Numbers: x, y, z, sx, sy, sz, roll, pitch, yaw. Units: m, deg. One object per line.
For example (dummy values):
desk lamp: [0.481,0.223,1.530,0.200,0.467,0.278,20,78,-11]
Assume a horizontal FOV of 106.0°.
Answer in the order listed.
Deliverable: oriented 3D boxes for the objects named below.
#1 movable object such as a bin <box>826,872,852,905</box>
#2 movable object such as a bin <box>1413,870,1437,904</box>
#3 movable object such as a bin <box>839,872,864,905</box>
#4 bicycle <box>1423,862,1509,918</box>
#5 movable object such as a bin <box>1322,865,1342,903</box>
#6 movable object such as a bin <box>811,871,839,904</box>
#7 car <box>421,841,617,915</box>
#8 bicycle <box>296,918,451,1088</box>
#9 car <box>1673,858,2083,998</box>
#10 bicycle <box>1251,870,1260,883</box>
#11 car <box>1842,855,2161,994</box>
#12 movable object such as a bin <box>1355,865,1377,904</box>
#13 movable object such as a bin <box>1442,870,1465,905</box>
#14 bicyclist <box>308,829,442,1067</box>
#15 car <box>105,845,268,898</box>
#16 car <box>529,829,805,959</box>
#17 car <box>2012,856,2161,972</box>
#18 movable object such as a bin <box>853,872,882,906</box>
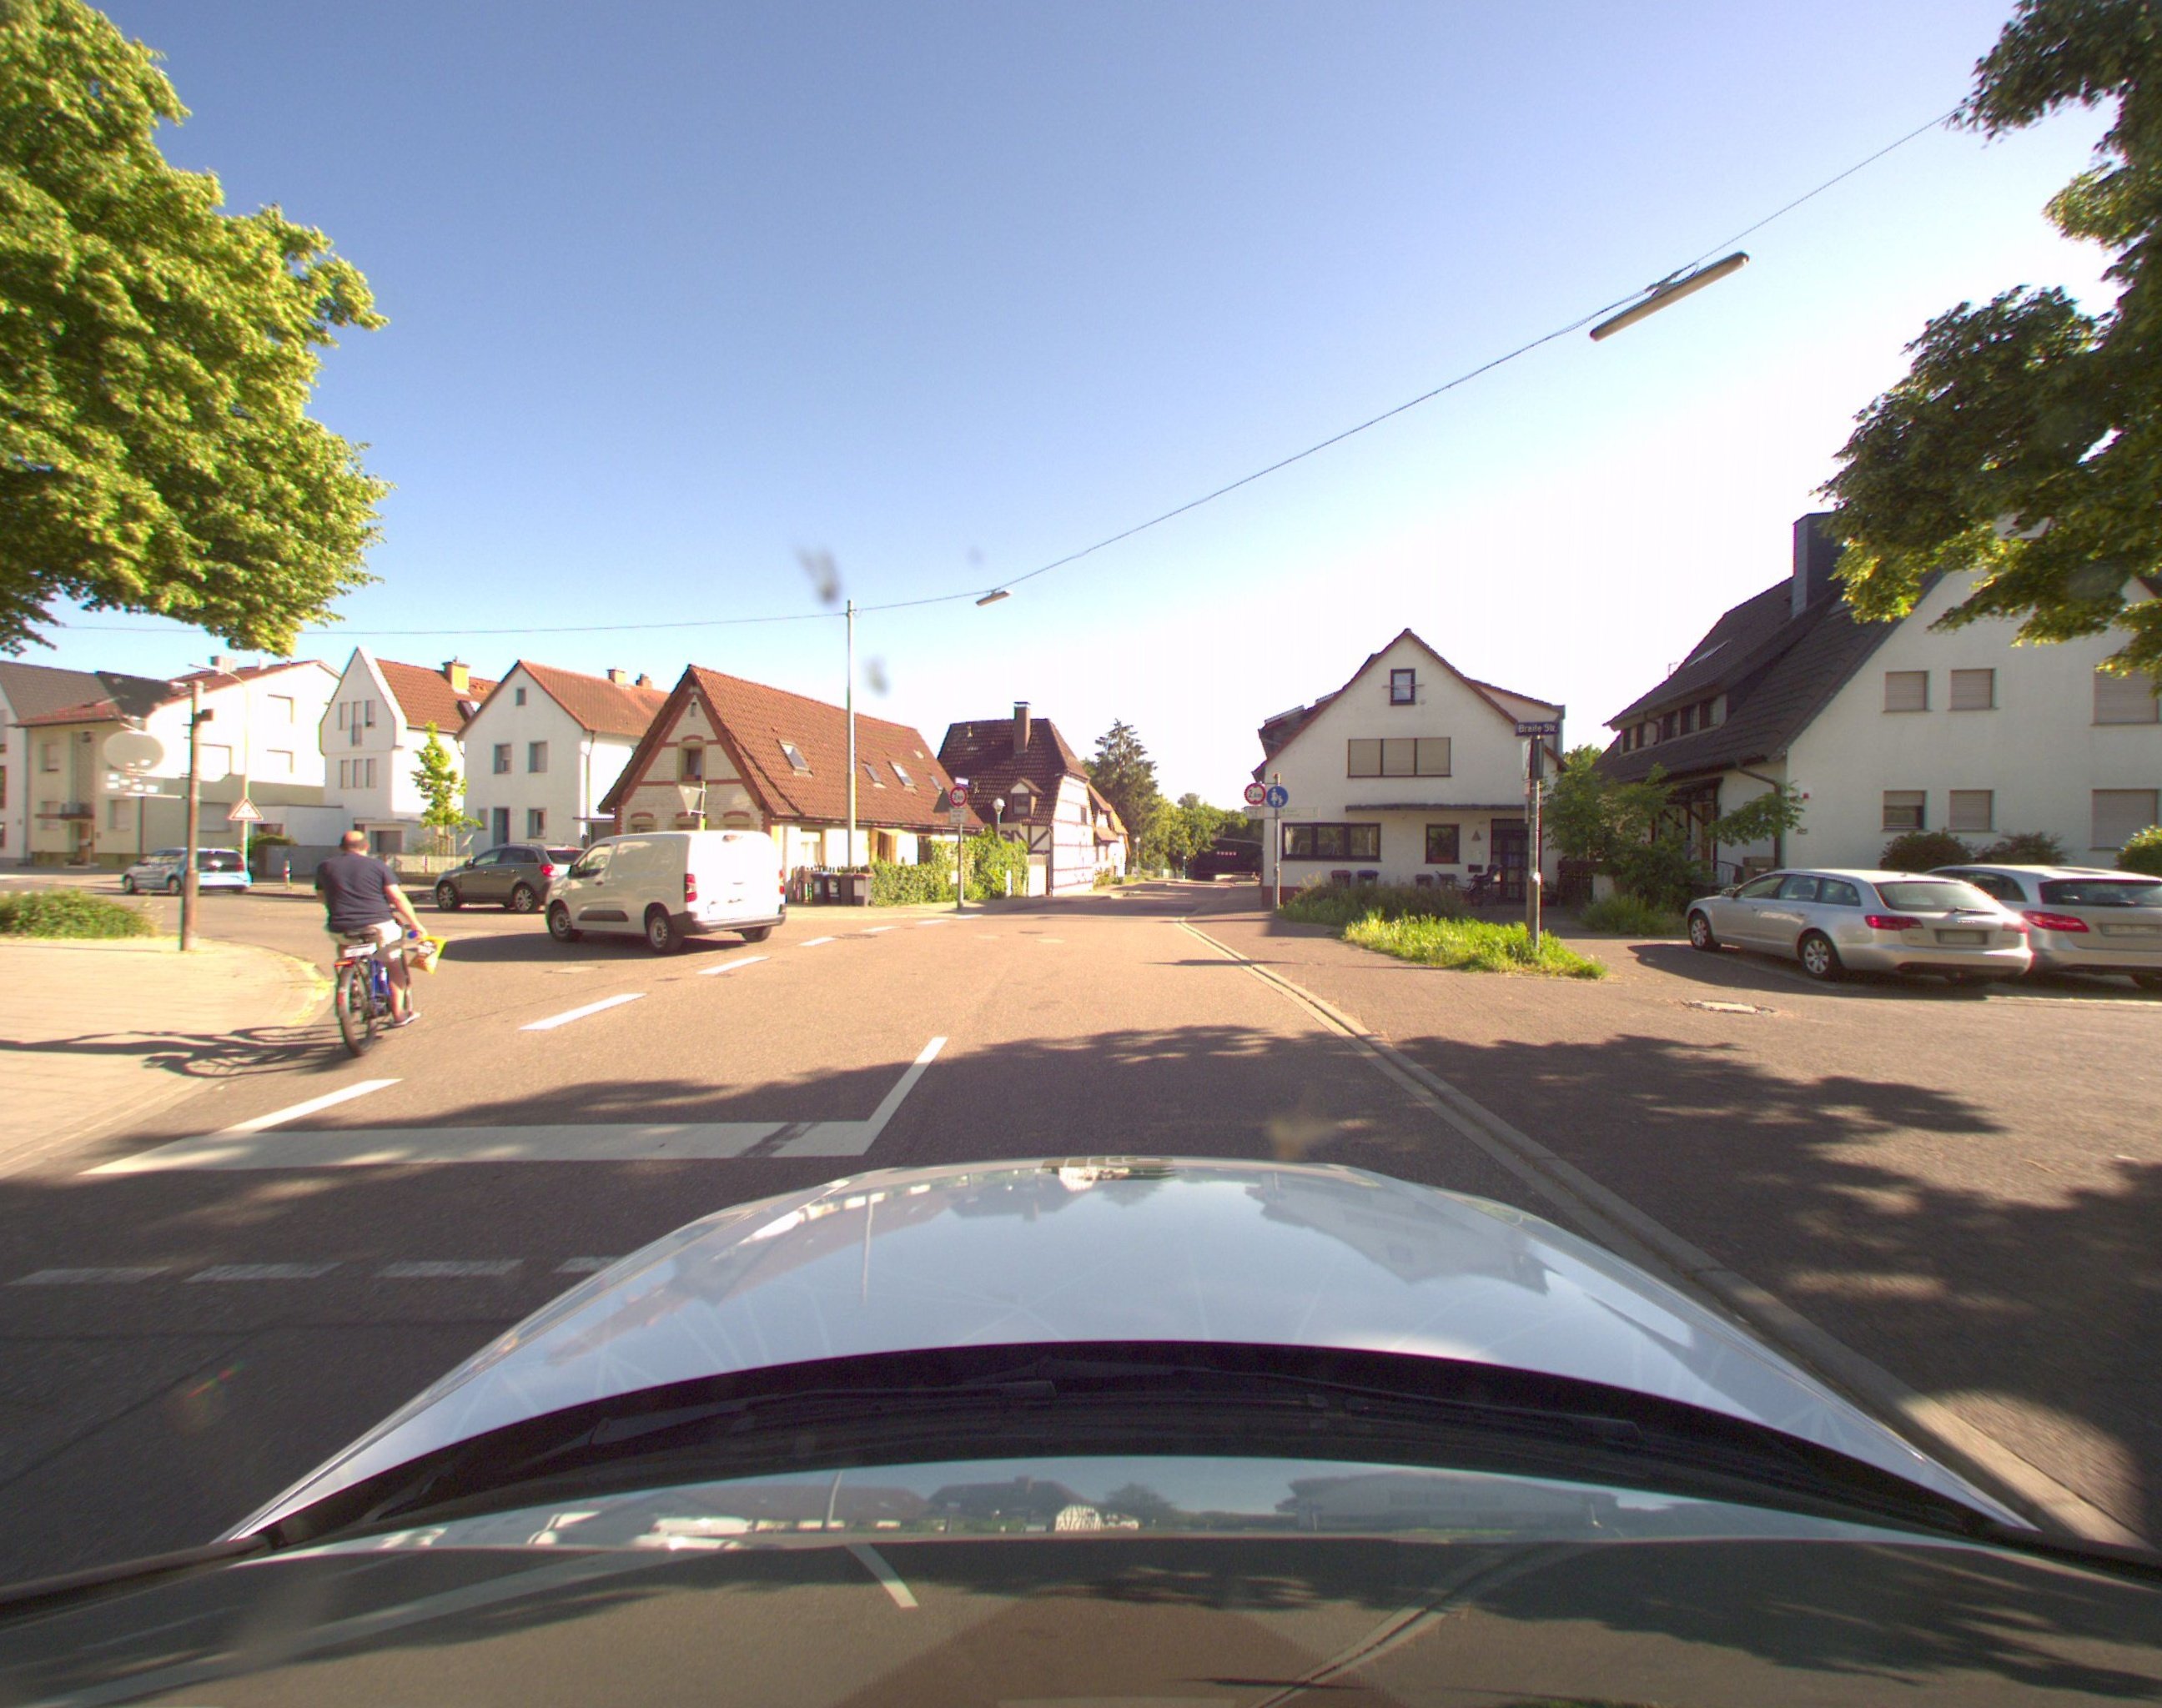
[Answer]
movable object such as a bin: [-7.051,0.990,23.734,0.409,0.906,0.629,0,1,19]
movable object such as a bin: [10.167,0.971,24.075,0.526,0.983,0.671,0,0,11]
movable object such as a bin: [-6.646,0.995,23.583,0.407,0.924,0.628,0,0,19]
bicycle: [9.198,0.839,19.500,1.726,1.284,0.702,1,-1,9]
movable object such as a bin: [7.566,0.899,24.554,0.477,1.123,0.751,0,0,11]
movable object such as a bin: [-7.516,0.975,23.896,0.503,0.924,0.628,0,0,19]
car: [-14.303,0.561,20.780,4.186,1.725,1.955,1,-1,19]
bicycle: [-5.783,1.122,6.774,0.781,0.940,2.265,-5,4,-38]
car: [11.058,0.869,11.959,1.981,1.421,4.818,1,2,11]
bicycle: [16.146,2.067,75.443,0.684,1.157,1.544,-4,-1,11]
car: [13.567,0.868,12.036,1.694,1.517,4.425,2,2,19]
movable object such as a bin: [8.494,0.902,24.288,0.523,1.123,0.751,0,0,11]
movable object such as a bin: [10.948,0.984,23.925,0.495,0.976,0.596,0,0,11]
bicyclist: [-5.749,0.703,6.683,0.770,1.789,0.843,-1,0,-38]
car: [-28.600,0.518,26.060,4.186,1.549,1.955,1,0,18]
car: [-6.929,0.540,13.521,4.501,1.848,1.976,0,1,31]
car: [16.024,0.889,11.392,1.696,1.551,4.421,1,2,14]
movable object such as a bin: [-6.141,1.004,23.428,0.551,0.924,0.628,0,0,19]
